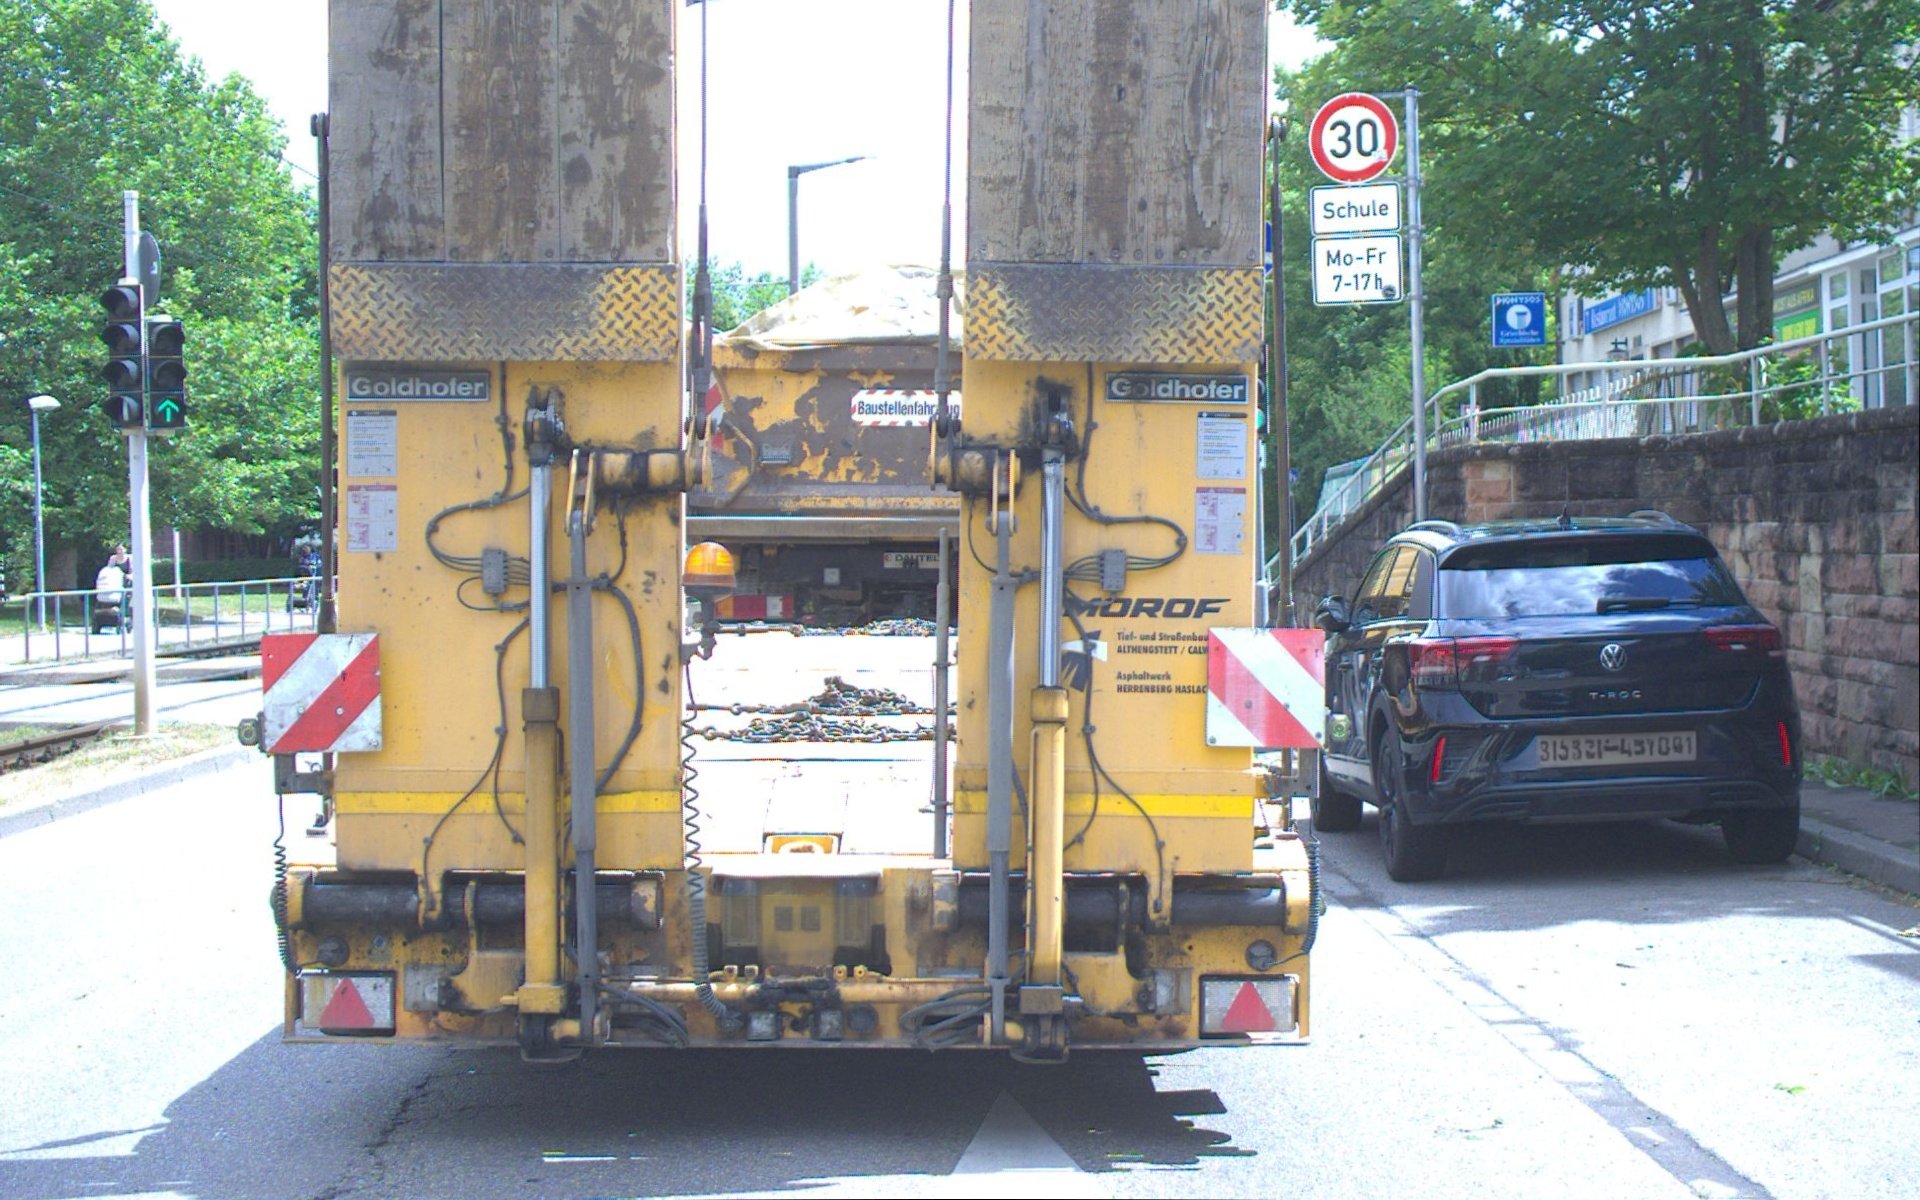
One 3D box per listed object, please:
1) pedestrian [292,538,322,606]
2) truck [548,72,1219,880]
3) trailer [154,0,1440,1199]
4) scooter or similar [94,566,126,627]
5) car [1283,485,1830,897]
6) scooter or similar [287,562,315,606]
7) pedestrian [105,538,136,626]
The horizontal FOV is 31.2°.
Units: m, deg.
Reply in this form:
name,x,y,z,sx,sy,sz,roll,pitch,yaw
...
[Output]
name,x,y,z,sx,sy,sz,roll,pitch,yaw
pedestrian,-14.748,-0.634,77.657,0.563,1.508,0.646,1,1,-1
truck,-0.327,-0.595,17.704,2.942,3.560,4.877,-1,1,0
trailer,-0.360,-0.492,12.335,2.945,3.589,8.684,-1,1,0
scooter or similar,-14.827,-0.063,59.964,0.338,1.054,0.687,-1,1,3
car,2.654,0.340,16.218,1.851,1.633,4.000,-2,1,0
scooter or similar,-14.768,-0.359,77.005,0.505,0.968,0.646,1,1,-1
pedestrian,-14.803,-0.318,60.600,0.348,1.531,0.557,-1,1,3
